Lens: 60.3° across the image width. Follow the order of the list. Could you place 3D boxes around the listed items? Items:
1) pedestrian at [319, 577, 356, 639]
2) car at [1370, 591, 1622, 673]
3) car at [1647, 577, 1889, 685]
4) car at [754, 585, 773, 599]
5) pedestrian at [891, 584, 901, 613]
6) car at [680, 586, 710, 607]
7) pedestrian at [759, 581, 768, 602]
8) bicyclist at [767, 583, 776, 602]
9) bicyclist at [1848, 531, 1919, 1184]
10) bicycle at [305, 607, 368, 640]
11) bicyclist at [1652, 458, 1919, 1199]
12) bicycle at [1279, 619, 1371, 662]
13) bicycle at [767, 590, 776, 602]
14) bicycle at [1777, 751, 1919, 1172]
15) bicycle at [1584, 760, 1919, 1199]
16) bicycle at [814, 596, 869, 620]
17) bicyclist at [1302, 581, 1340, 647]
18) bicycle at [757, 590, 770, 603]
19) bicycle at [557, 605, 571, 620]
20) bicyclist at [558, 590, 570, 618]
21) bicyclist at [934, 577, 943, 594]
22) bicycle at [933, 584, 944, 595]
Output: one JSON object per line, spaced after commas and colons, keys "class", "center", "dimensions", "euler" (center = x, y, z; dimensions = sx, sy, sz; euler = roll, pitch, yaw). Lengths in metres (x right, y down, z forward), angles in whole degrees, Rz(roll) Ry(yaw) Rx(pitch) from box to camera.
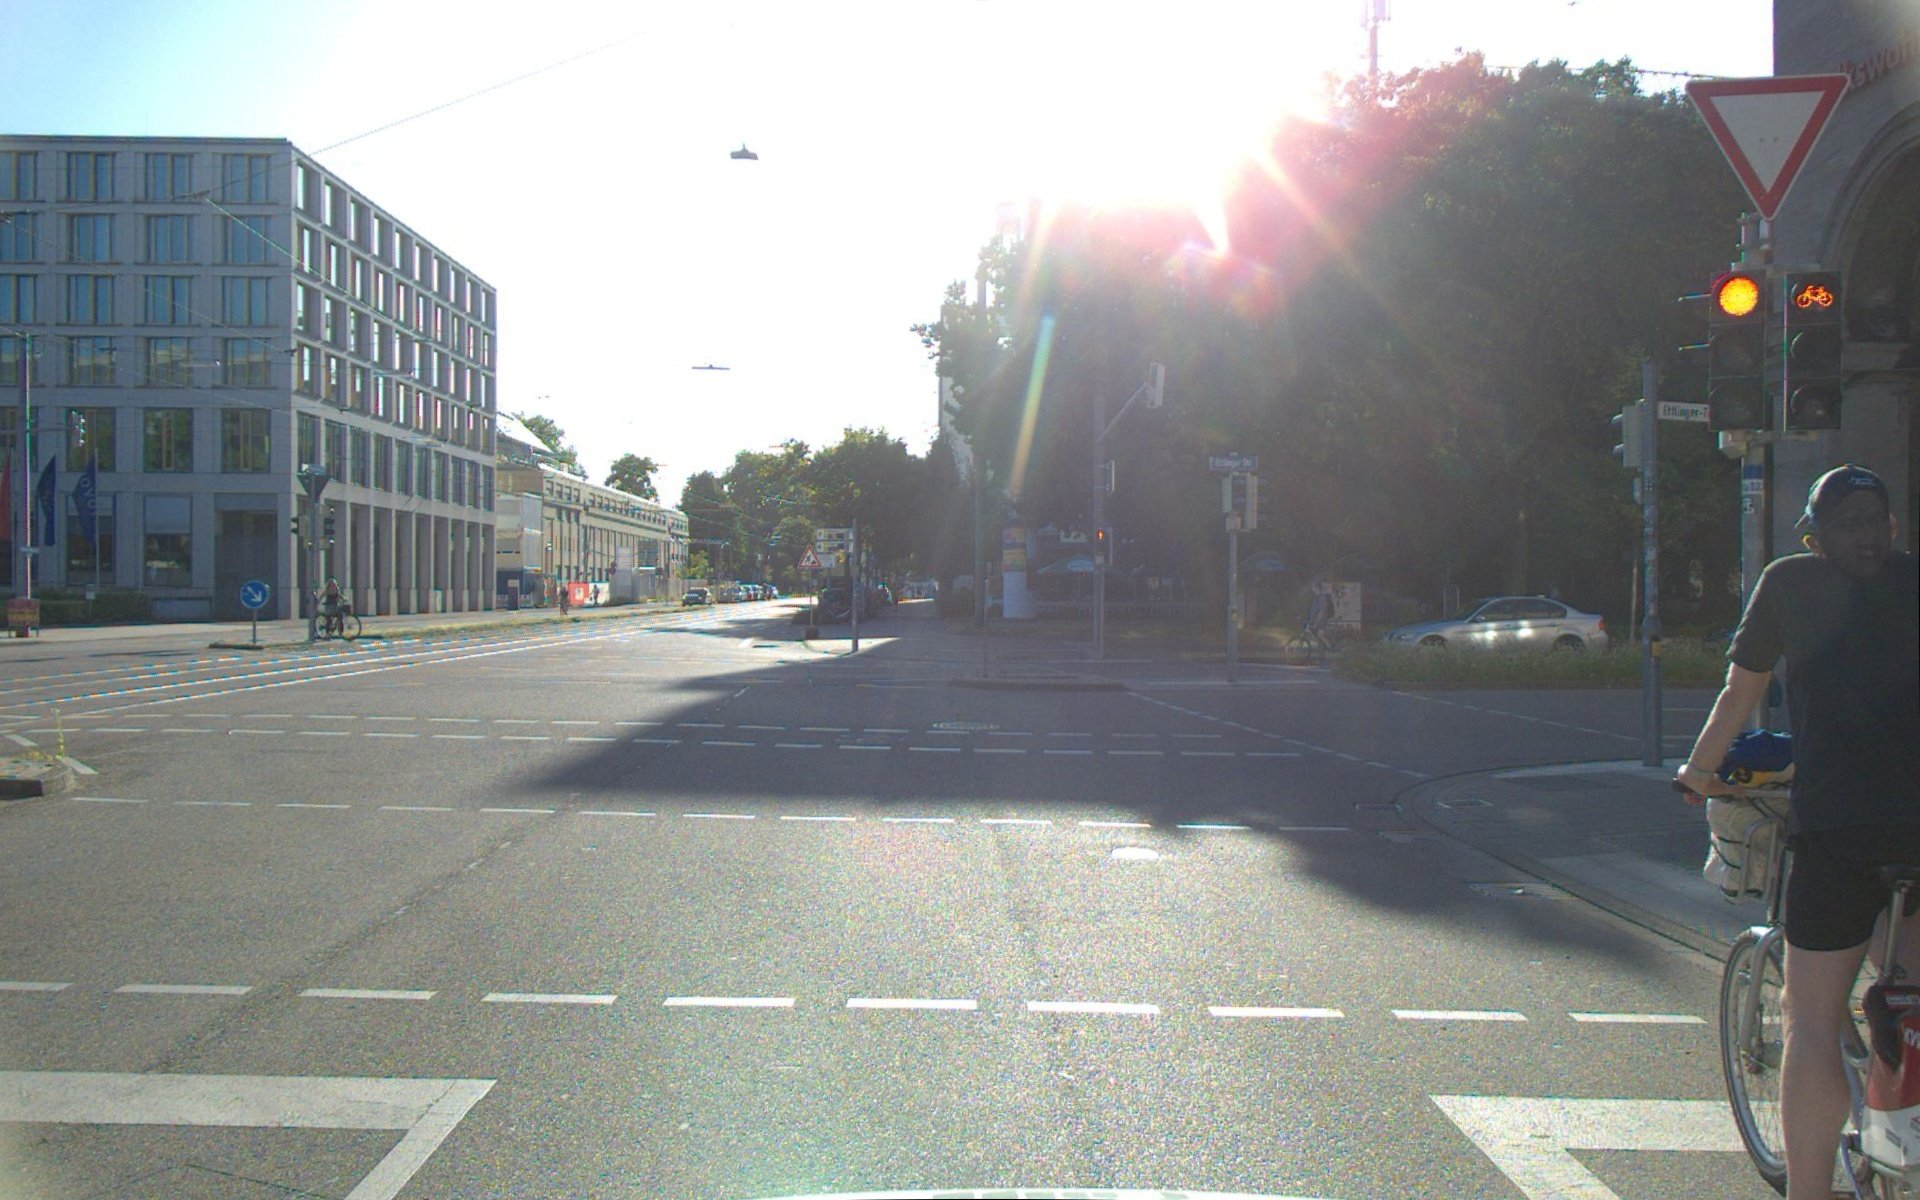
{"class": "pedestrian", "center": [-16.325, 0.210, 43.379], "dimensions": [0.727, 1.623, 0.573], "euler": [0, 0, 26]}
{"class": "car", "center": [10.849, 0.635, 33.727], "dimensions": [4.483, 1.543, 2.000], "euler": [1, 0, -1]}
{"class": "car", "center": [16.228, 0.616, 33.382], "dimensions": [3.905, 2.049, 2.000], "euler": [1, 0, 0]}
{"class": "car", "center": [-23.066, -0.962, 194.356], "dimensions": [1.954, 1.673, 3.997], "euler": [0, 0, -4]}
{"class": "pedestrian", "center": [-3.776, -0.076, 97.496], "dimensions": [0.566, 1.719, 0.584], "euler": [0, 0, -8]}
{"class": "car", "center": [-21.680, -0.284, 135.425], "dimensions": [1.954, 1.627, 3.997], "euler": [0, 1, -3]}
{"class": "pedestrian", "center": [-19.870, -0.813, 167.403], "dimensions": [0.735, 2.099, 1.050], "euler": [1, -1, 5]}
{"class": "bicyclist", "center": [-19.668, -0.823, 172.720], "dimensions": [0.735, 1.953, 1.214], "euler": [1, 0, -2]}
{"class": "bicyclist", "center": [2.884, 0.697, 4.355], "dimensions": [0.572, 1.769, 0.950], "euler": [0, 0, 0]}
{"class": "bicycle", "center": [-16.368, 0.608, 43.402], "dimensions": [1.679, 0.837, 0.573], "euler": [0, 0, 27]}
{"class": "bicyclist", "center": [2.141, 0.574, 3.903], "dimensions": [0.610, 1.745, 0.912], "euler": [0, 0, -2]}
{"class": "bicycle", "center": [8.034, 0.885, 36.487], "dimensions": [1.902, 0.905, 0.718], "euler": [1, 0, 5]}
{"class": "bicycle", "center": [-19.684, -0.457, 172.837], "dimensions": [0.735, 1.226, 3.107], "euler": [1, 0, -2]}
{"class": "bicycle", "center": [2.884, 1.018, 4.391], "dimensions": [0.570, 1.062, 1.747], "euler": [0, 0, 0]}
{"class": "bicycle", "center": [2.138, 1.002, 3.915], "dimensions": [0.610, 1.062, 1.746], "euler": [0, 0, -2]}
{"class": "bicycle", "center": [-4.821, 0.332, 67.146], "dimensions": [2.201, 0.956, 0.653], "euler": [0, 0, -6]}
{"class": "bicyclist", "center": [7.955, 0.310, 36.494], "dimensions": [0.731, 1.431, 0.702], "euler": [1, -1, 6]}
{"class": "bicycle", "center": [-19.895, -0.356, 167.335], "dimensions": [0.735, 1.226, 3.109], "euler": [1, 0, 5]}
{"class": "bicycle", "center": [-21.762, 0.684, 90.954], "dimensions": [0.484, 0.854, 1.156], "euler": [0, 0, 2]}
{"class": "bicyclist", "center": [-21.765, 0.224, 90.962], "dimensions": [0.484, 1.525, 0.666], "euler": [0, 0, 2]}
{"class": "bicyclist", "center": [-2.616, -1.711, 200.180], "dimensions": [0.875, 2.049, 0.746], "euler": [1, -1, -12]}
{"class": "bicycle", "center": [-2.604, -1.298, 200.061], "dimensions": [0.875, 1.240, 2.785], "euler": [1, 0, -12]}
